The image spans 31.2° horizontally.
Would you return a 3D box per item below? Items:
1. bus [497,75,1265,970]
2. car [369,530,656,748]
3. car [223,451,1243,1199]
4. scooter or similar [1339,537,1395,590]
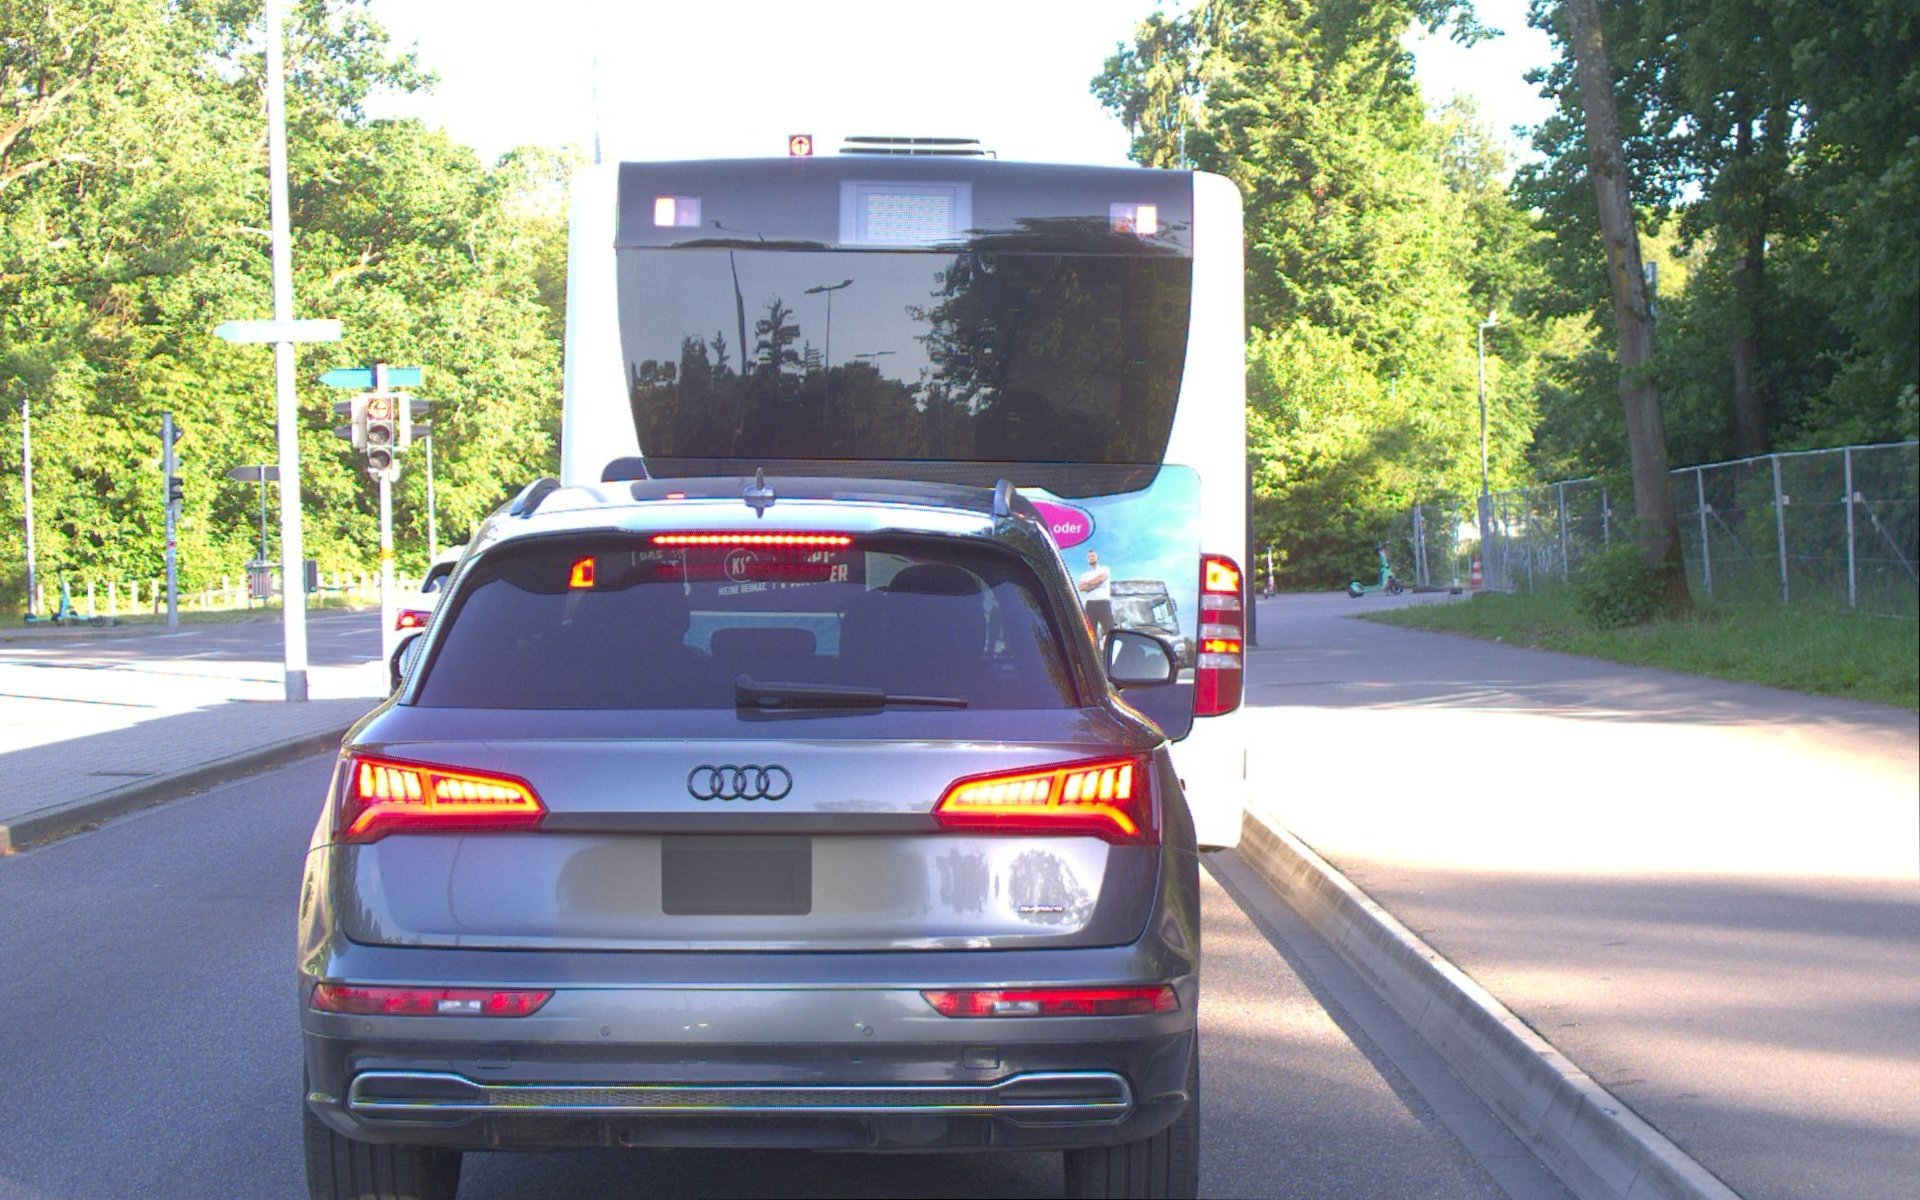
[{"bbox_3d":[-0.254,-0.353,15.111,2.678,3.131,5.882,1,2,1],"label":"bus"},{"bbox_3d":[-3.507,0.252,27.566,1.808,1.567,4.000,1,2,-1],"label":"car"},{"bbox_3d":[-0.446,0.512,8.365,1.868,1.658,4.000,1,2,-1],"label":"car"},{"bbox_3d":[9.233,-0.827,77.981,1.184,1.170,0.659,1,1,11],"label":"scooter or similar"}]
